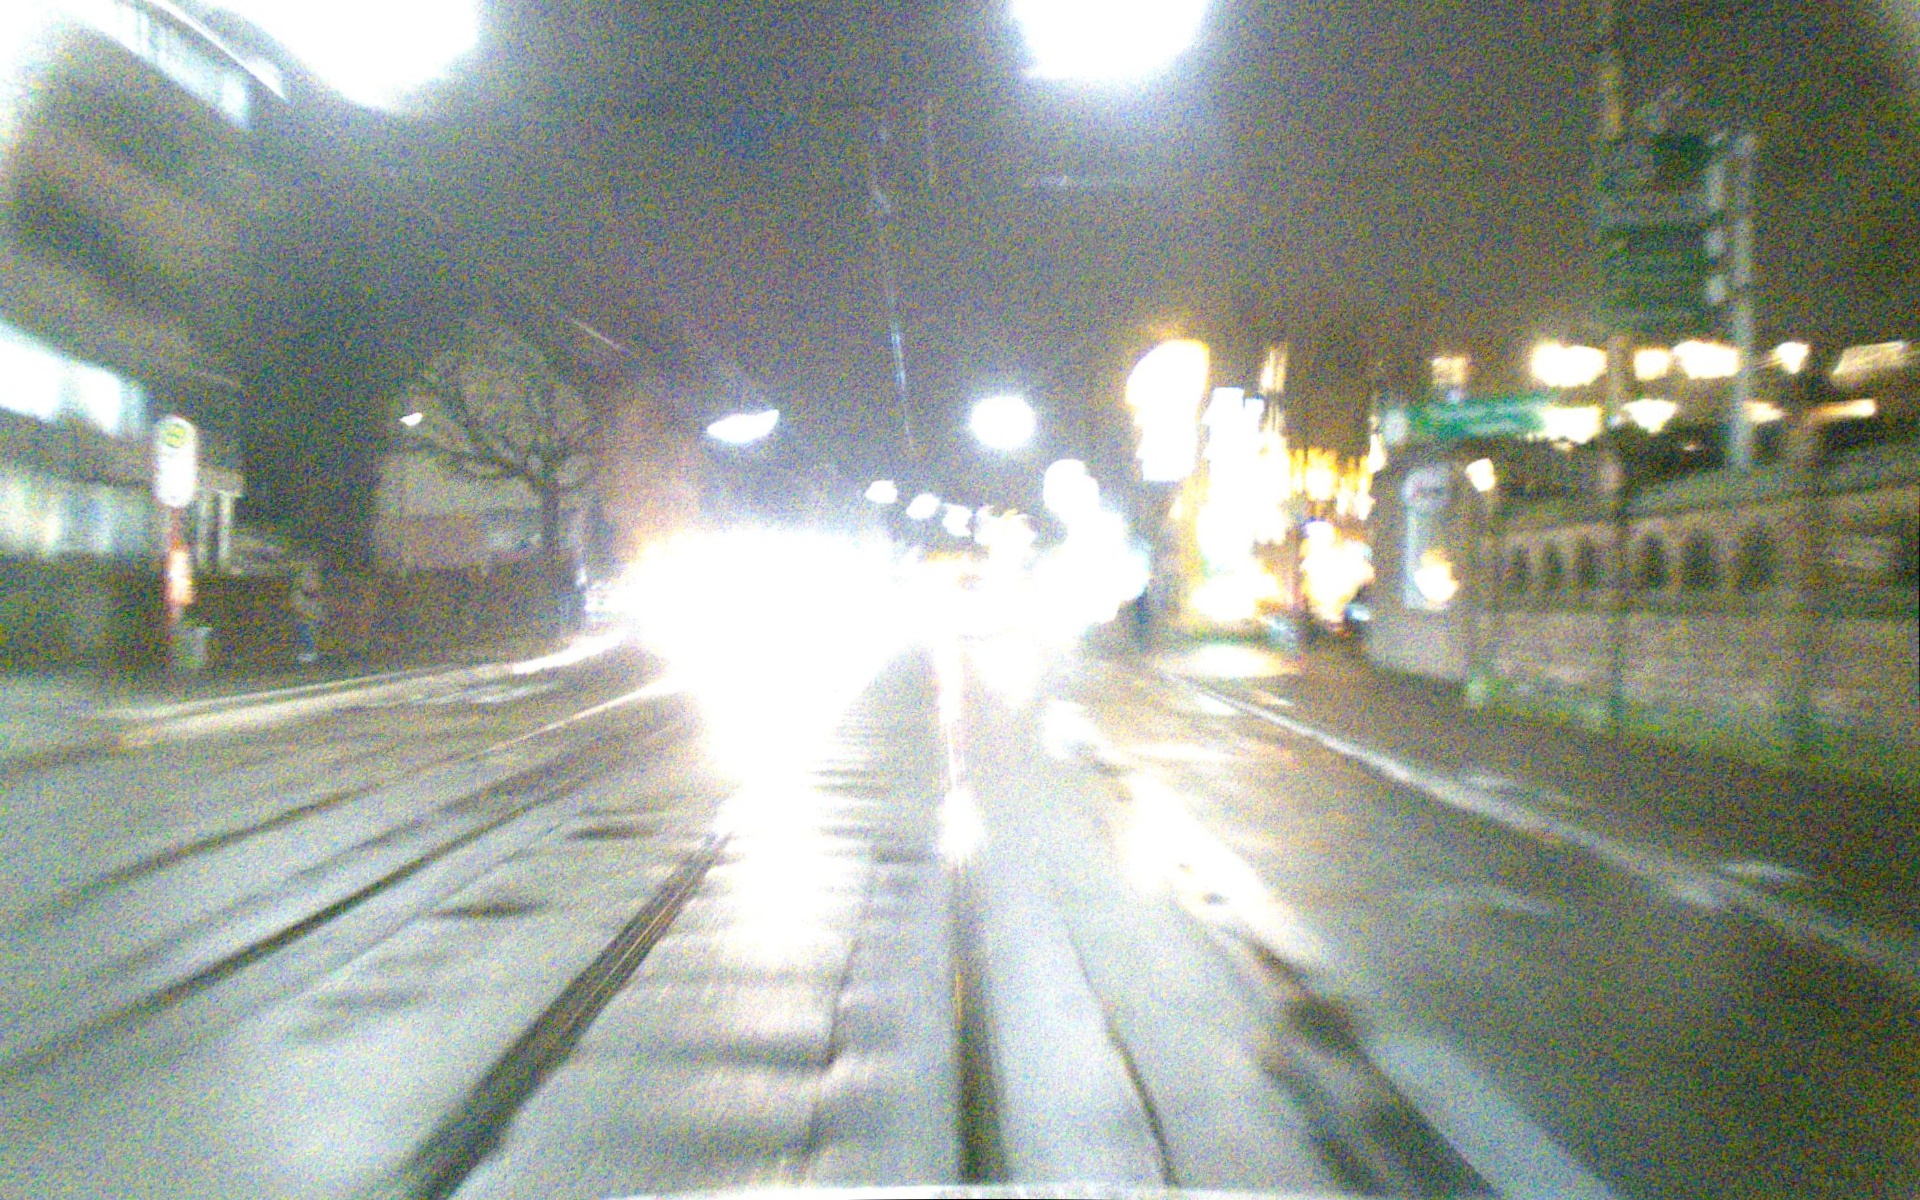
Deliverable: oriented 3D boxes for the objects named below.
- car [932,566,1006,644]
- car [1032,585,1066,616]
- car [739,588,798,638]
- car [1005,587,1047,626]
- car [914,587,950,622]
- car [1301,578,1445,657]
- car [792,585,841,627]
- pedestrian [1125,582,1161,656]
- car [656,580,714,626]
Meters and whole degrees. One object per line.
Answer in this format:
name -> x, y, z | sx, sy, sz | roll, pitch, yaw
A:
car -> 0.230, 0.141, 53.076 | 2.199, 2.402, 4.392 | 0, 0, -2
car -> 5.933, 0.017, 110.098 | 1.953, 2.049, 3.999 | 0, 0, -1
car -> -6.969, 0.460, 60.502 | 1.954, 1.754, 4.073 | 0, 0, -4
car -> 3.169, 0.302, 80.550 | 1.974, 1.847, 4.001 | 0, 0, 1
car -> -1.568, 0.229, 91.155 | 1.953, 1.847, 3.999 | 0, 0, -2
car -> 9.693, 0.384, 38.643 | 1.989, 1.730, 4.109 | 0, 0, 34
car -> -6.924, 0.293, 80.106 | 2.274, 1.966, 4.959 | 0, 0, -4
pedestrian -> 4.525, 0.468, 40.832 | 0.761, 1.807, 0.694 | 0, 0, 16
car -> -12.431, 0.135, 74.879 | 1.953, 2.049, 4.000 | 0, 0, 0
